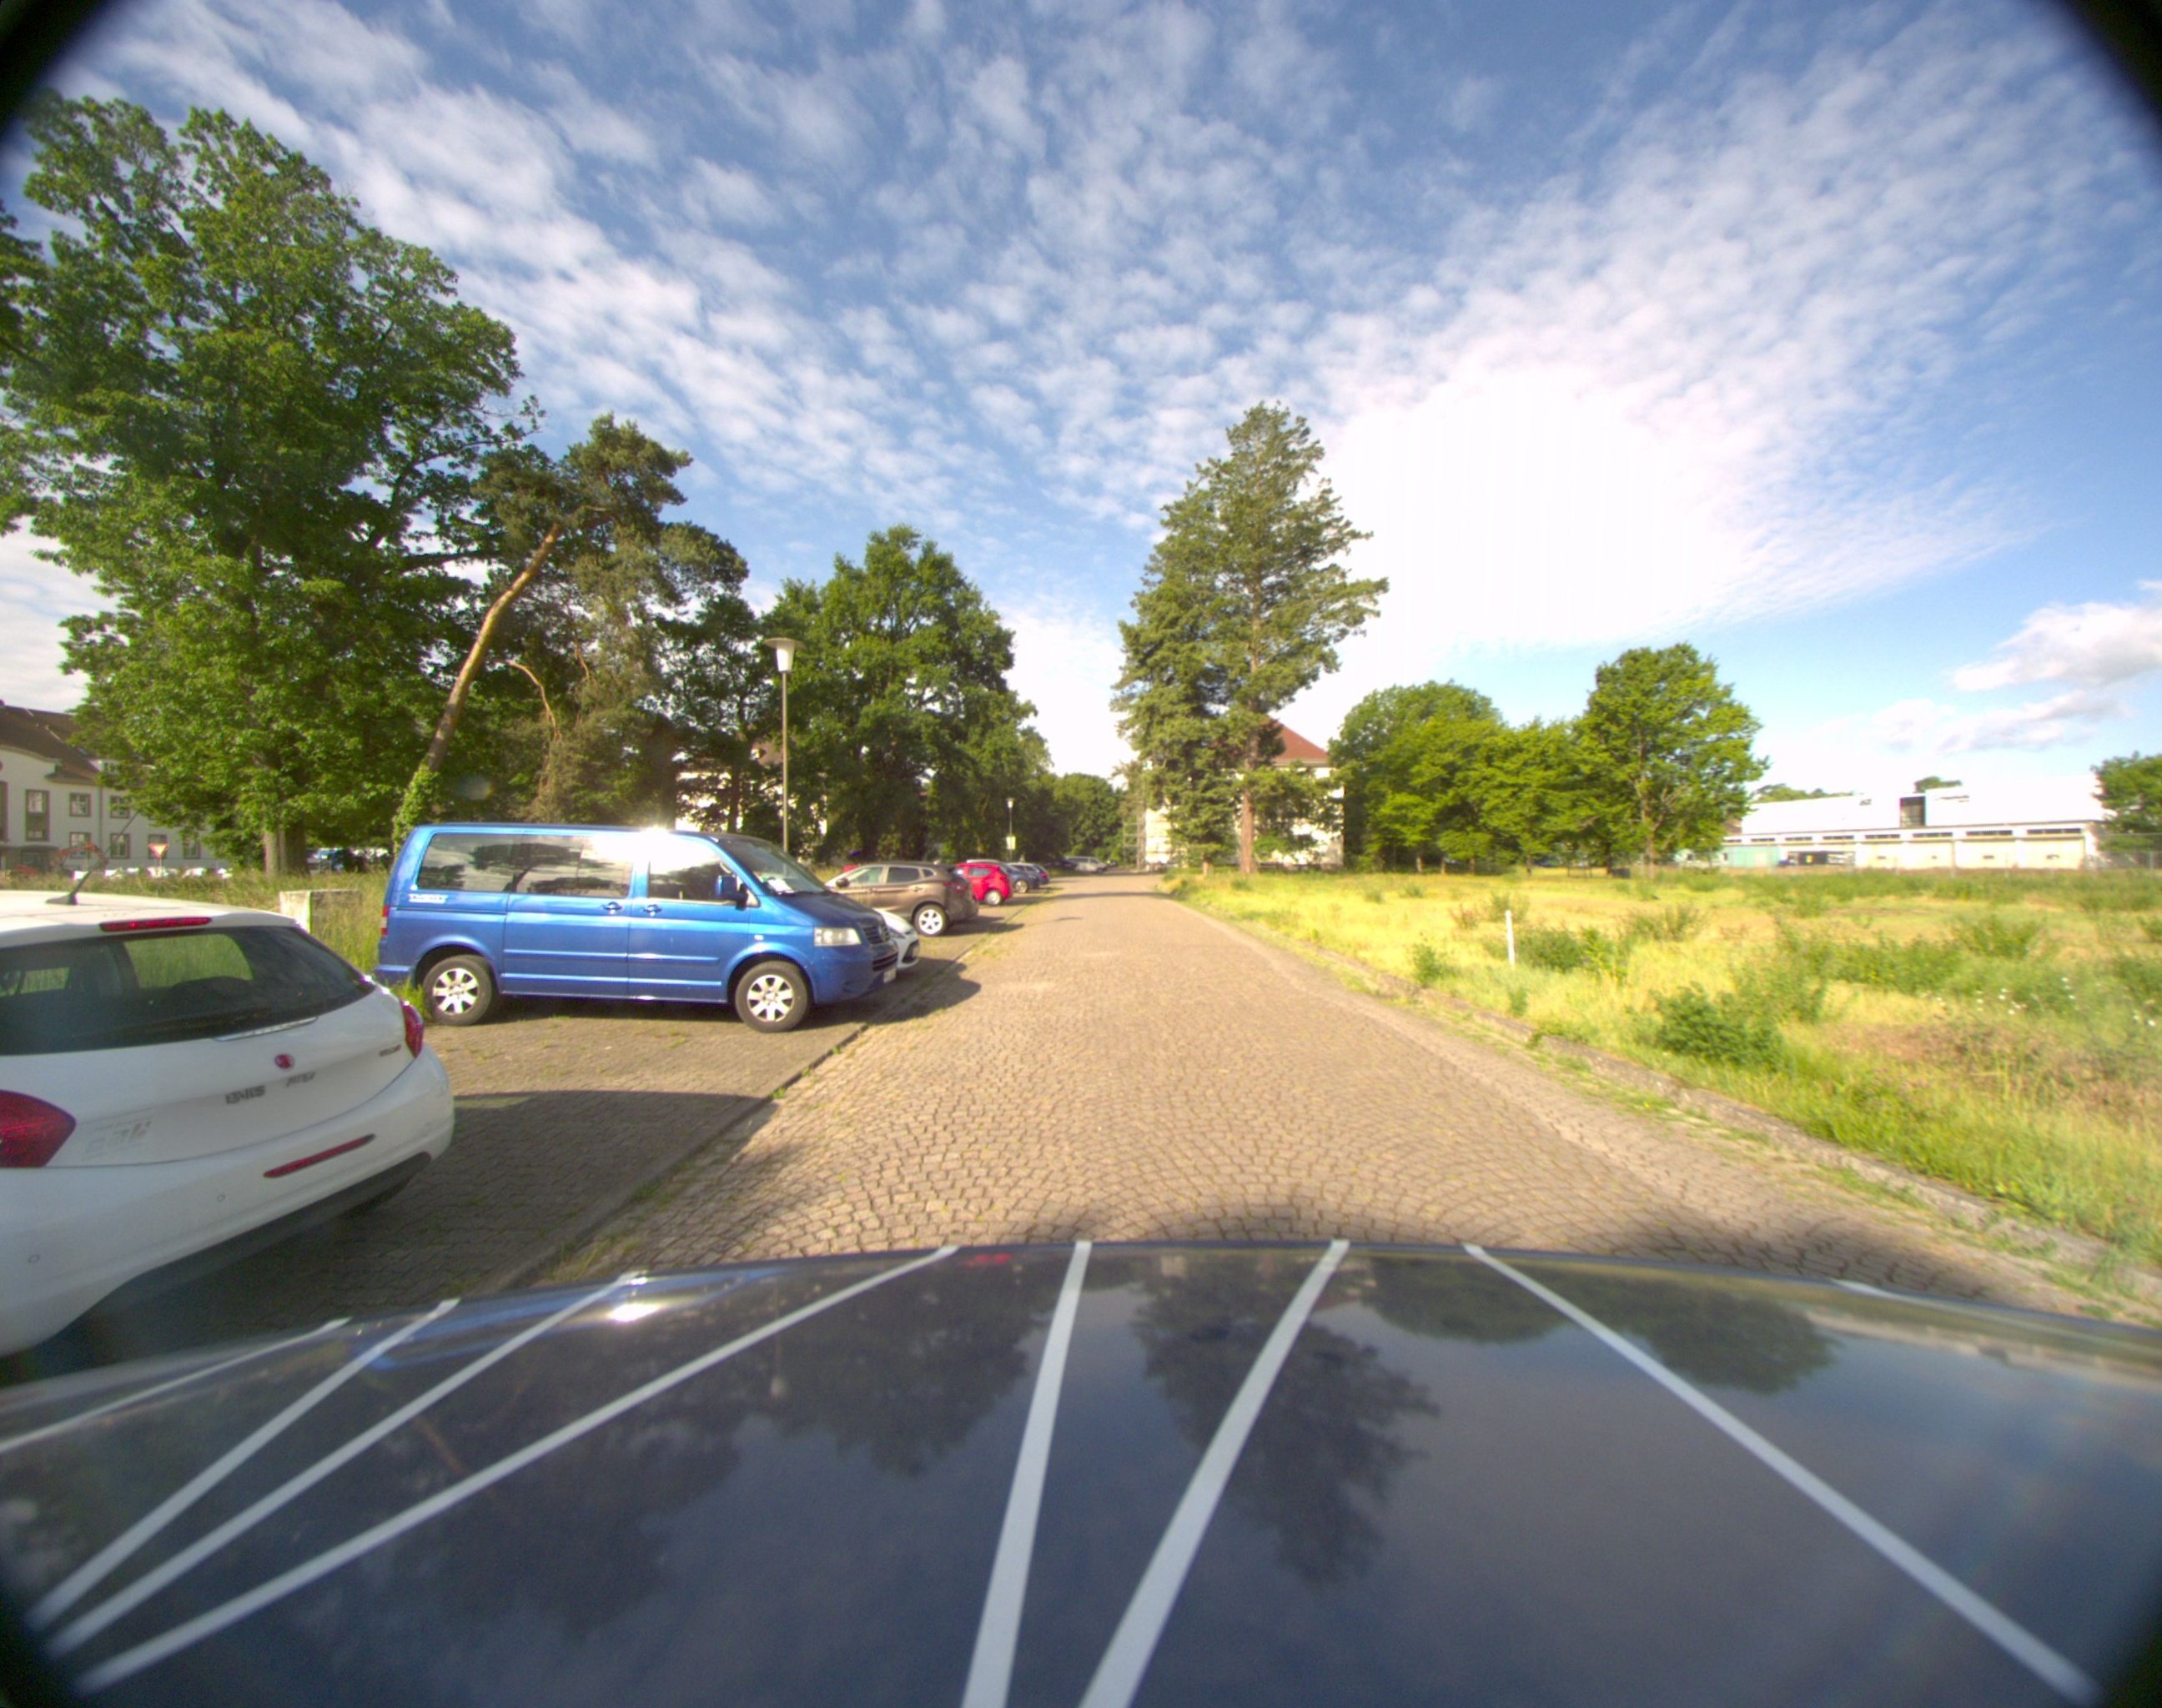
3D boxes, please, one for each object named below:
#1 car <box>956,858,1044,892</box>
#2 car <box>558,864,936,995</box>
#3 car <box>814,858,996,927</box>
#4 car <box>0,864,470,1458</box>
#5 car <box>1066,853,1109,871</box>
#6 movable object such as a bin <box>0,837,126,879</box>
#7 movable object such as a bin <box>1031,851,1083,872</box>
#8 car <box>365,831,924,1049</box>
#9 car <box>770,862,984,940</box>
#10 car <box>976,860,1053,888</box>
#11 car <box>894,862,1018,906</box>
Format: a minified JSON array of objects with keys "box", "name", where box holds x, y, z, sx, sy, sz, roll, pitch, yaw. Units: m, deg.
[{"box":[-3.936,1.030,37.469,4.097,1.548,1.853,1,0,0],"name":"car"},{"box":[-4.435,0.970,10.621,4.408,1.568,1.939,1,0,1],"name":"car"},{"box":[-4.405,0.955,19.567,4.237,1.588,1.934,1,1,-2],"name":"car"},{"box":[-4.697,0.811,2.647,3.716,1.525,1.761,1,0,1],"name":"car"},{"box":[0.795,0.924,90.732,4.933,2.002,1.999,1,1,-5],"name":"car"},{"box":[-88.147,0.320,65.651,6.460,3.282,2.859,-3,1,-42],"name":"movable object such as a bin"},{"box":[-2.447,0.757,77.981,4.865,2.002,2.002,-1,0,14],"name":"movable object such as a bin"},{"box":[-4.240,0.793,7.999,4.710,1.924,2.000,1,0,1],"name":"car"},{"box":[-4.380,1.002,16.847,4.237,1.588,1.934,0,1,-2],"name":"car"},{"box":[-3.637,1.106,42.153,4.097,1.414,1.785,1,0,0],"name":"car"},{"box":[-4.389,1.048,27.204,4.097,1.451,1.853,1,0,0],"name":"car"}]
